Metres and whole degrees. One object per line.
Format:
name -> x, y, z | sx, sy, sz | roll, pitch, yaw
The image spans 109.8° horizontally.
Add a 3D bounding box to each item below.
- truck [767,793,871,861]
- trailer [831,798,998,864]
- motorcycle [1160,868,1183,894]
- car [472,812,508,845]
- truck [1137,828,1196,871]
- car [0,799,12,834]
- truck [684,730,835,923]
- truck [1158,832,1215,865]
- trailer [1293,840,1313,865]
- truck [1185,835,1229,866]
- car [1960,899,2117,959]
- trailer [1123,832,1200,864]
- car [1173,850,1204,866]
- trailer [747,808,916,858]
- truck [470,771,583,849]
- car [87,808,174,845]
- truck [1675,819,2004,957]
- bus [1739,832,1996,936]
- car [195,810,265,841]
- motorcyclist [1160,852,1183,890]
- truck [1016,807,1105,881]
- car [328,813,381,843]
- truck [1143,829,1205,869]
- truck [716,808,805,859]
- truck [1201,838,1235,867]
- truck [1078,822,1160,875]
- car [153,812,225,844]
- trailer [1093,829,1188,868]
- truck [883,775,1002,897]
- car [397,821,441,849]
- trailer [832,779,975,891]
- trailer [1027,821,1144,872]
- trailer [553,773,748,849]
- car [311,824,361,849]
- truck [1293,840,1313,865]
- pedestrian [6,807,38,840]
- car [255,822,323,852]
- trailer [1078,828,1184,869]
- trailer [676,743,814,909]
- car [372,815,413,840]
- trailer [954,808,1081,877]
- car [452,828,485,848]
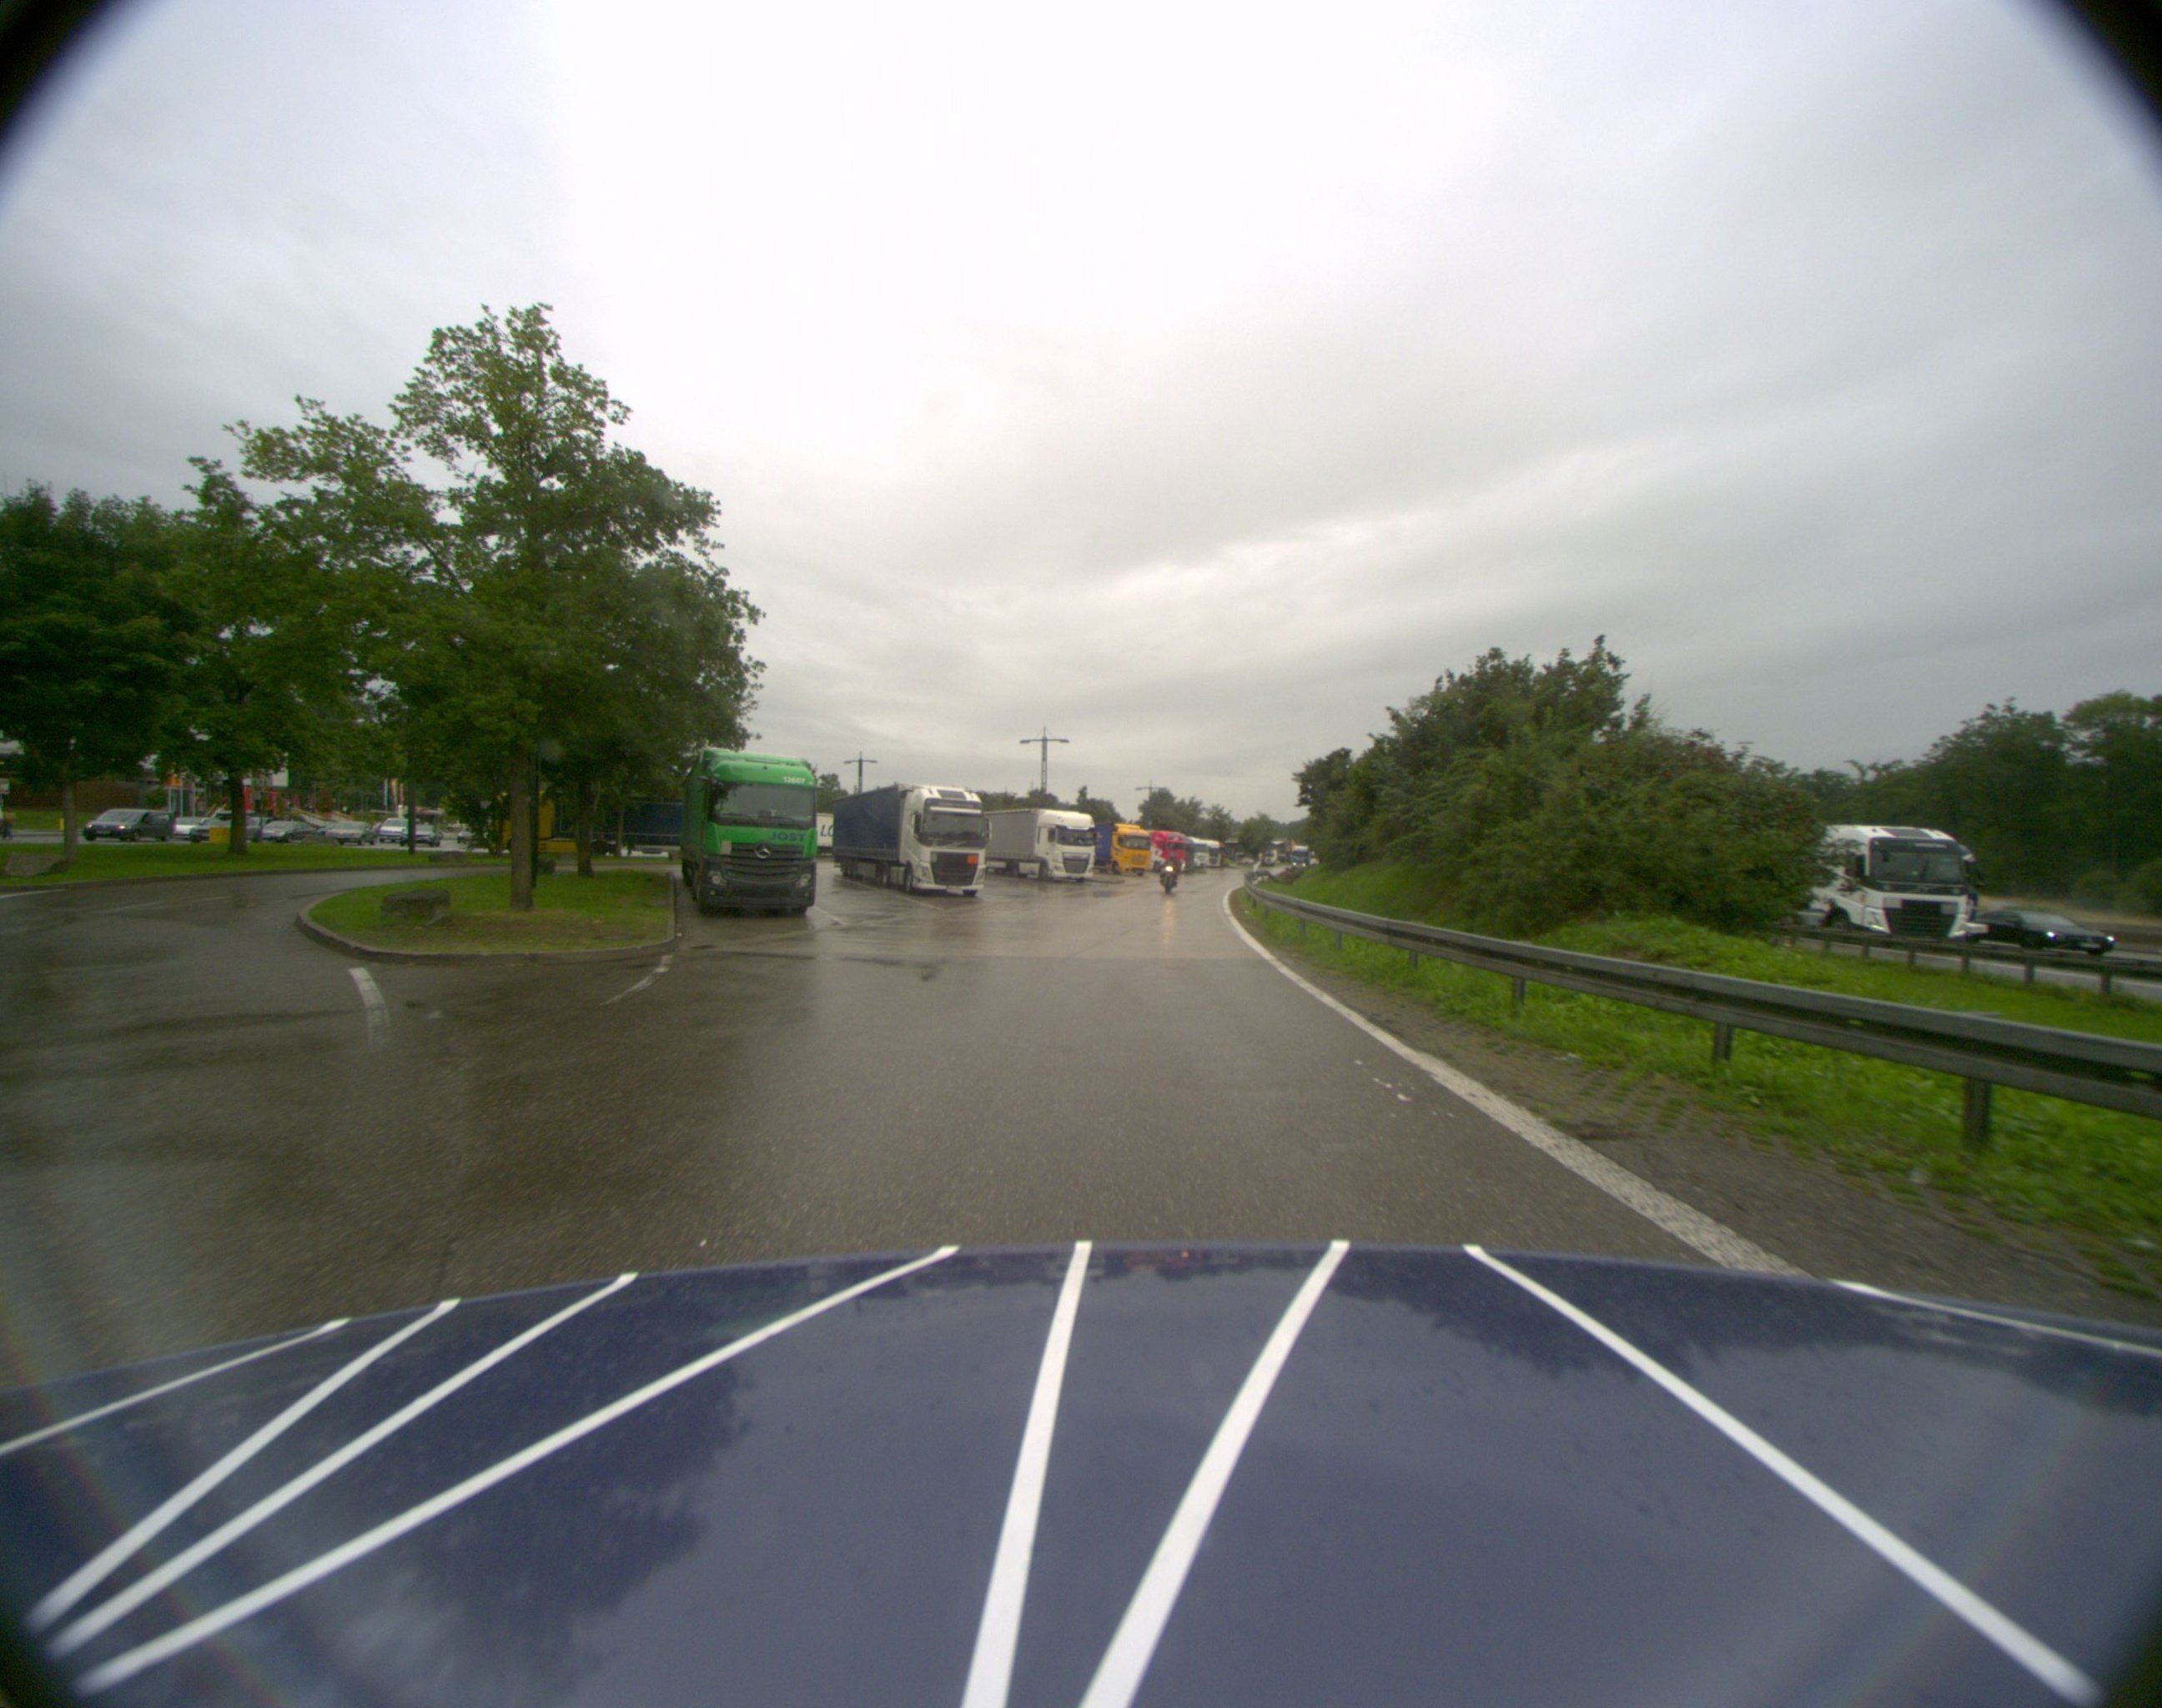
truck -> -18.992, -1.884, 55.135 | 6.547, 4.481, 3.251 | 2, 1, -29
trailer -> -12.695, -1.622, 58.614 | 12.053, 4.448, 3.251 | 2, 1, -29
motorcycle -> 3.829, 1.129, 32.423 | 0.877, 1.016, 2.354 | 3, 0, 5
car -> -47.834, -2.050, 61.560 | 2.004, 2.498, 4.726 | 2, 0, -35
truck -> 8.349, -0.473, 74.423 | 3.252, 3.897, 5.008 | 2, 1, -31
car -> -53.263, -1.857, 35.673 | 1.972, 1.724, 4.532 | -1, 0, -33
truck -> -8.472, -0.644, 19.540 | 2.832, 4.126, 5.982 | 2, 1, -29
truck -> 14.261, -0.817, 102.977 | 3.252, 4.068, 7.917 | 2, 1, -31
trailer -> 42.339, -0.286, 144.383 | 3.239, 4.361, 13.784 | 2, 1, 17
truck -> 18.402, -0.561, 111.038 | 3.252, 4.361, 5.798 | 1, 1, -31
car -> 34.982, 2.681, 27.938 | 1.621, 1.770, 4.005 | -1, 0, 17
trailer -> 11.199, -0.986, 108.159 | 3.252, 4.068, 13.497 | 2, 1, -31
car -> 13.715, 0.510, 97.039 | 1.851, 1.848, 3.990 | 1, 1, -28
trailer -> -22.386, -1.876, 68.899 | 14.187, 4.233, 2.662 | -1, 0, -28
truck -> -33.984, -2.602, 46.825 | 5.086, 4.525, 3.431 | -1, 0, -28
car -> -52.852, -1.474, 42.340 | 1.821, 1.871, 3.990 | -1, 0, -33
truck -> 27.409, 0.995, 28.861 | 3.351, 4.047, 12.588 | -1, 0, 17
bus -> 32.859, 1.071, 32.621 | 2.898, 3.746, 10.443 | -1, 0, 17
car -> -50.542, -1.657, 45.230 | 1.761, 1.680, 3.990 | -1, 0, -33
motorcyclist -> 3.843, 0.724, 32.353 | 0.877, 1.558, 1.374 | 3, 0, 5
truck -> -1.271, -0.561, 43.621 | 2.836, 3.890, 5.397 | 2, 1, -29
car -> -49.521, -1.726, 51.866 | 1.859, 1.871, 3.990 | -1, 0, -33
truck -> 9.584, -0.528, 79.221 | 2.905, 3.897, 6.538 | 2, 1, -31
truck -> -27.825, -1.756, 65.990 | 6.794, 4.250, 2.662 | -1, 0, -28
truck -> 20.823, -0.298, 116.043 | 2.611, 4.361, 4.617 | 1, 1, -31
truck -> 2.945, -0.518, 61.645 | 2.845, 3.897, 8.111 | 2, 1, -27
car -> -56.352, -1.590, 48.100 | 1.857, 1.871, 3.990 | -1, 0, -33
trailer -> 6.314, -0.781, 84.736 | 2.881, 3.897, 13.899 | 2, 1, -31
truck -> -5.343, -0.641, 28.637 | 2.831, 4.122, 5.289 | 2, 1, -28
car -> -47.628, -1.366, 54.710 | 1.787, 1.871, 3.990 | -1, 0, -33
trailer -> -8.708, -0.892, 35.043 | 2.831, 4.147, 13.959 | 2, 1, -28
trailer -> -0.116, -0.817, 67.565 | 2.874, 3.897, 16.593 | 2, 1, -27
trailer -> -27.984, -2.721, 50.078 | 10.756, 4.525, 3.431 | -1, 0, -28
car -> -57.919, -1.384, 59.176 | 2.004, 1.789, 3.989 | 2, 0, -33
truck -> 40.336, -0.215, 138.133 | 3.239, 4.361, 6.322 | 2, 1, 17
pedestrian -> -54.295, -1.551, 38.971 | 0.791, 1.650, 0.718 | 2, 1, 16
car -> -53.073, -1.124, 51.005 | 2.004, 1.876, 4.385 | 2, 0, -31
trailer -> 4.921, -0.715, 80.215 | 3.252, 3.897, 14.791 | 2, 1, -31
trailer -> -11.818, -0.870, 25.594 | 2.832, 4.126, 13.931 | 2, 1, -29
car -> -55.522, -2.082, 61.346 | 1.772, 1.871, 3.990 | -1, 0, -33
trailer -> -4.618, -0.830, 49.827 | 2.849, 3.897, 13.919 | 2, 1, -28
car -> -54.724, -1.428, 67.954 | 1.831, 1.666, 3.990 | -1, 0, -33
